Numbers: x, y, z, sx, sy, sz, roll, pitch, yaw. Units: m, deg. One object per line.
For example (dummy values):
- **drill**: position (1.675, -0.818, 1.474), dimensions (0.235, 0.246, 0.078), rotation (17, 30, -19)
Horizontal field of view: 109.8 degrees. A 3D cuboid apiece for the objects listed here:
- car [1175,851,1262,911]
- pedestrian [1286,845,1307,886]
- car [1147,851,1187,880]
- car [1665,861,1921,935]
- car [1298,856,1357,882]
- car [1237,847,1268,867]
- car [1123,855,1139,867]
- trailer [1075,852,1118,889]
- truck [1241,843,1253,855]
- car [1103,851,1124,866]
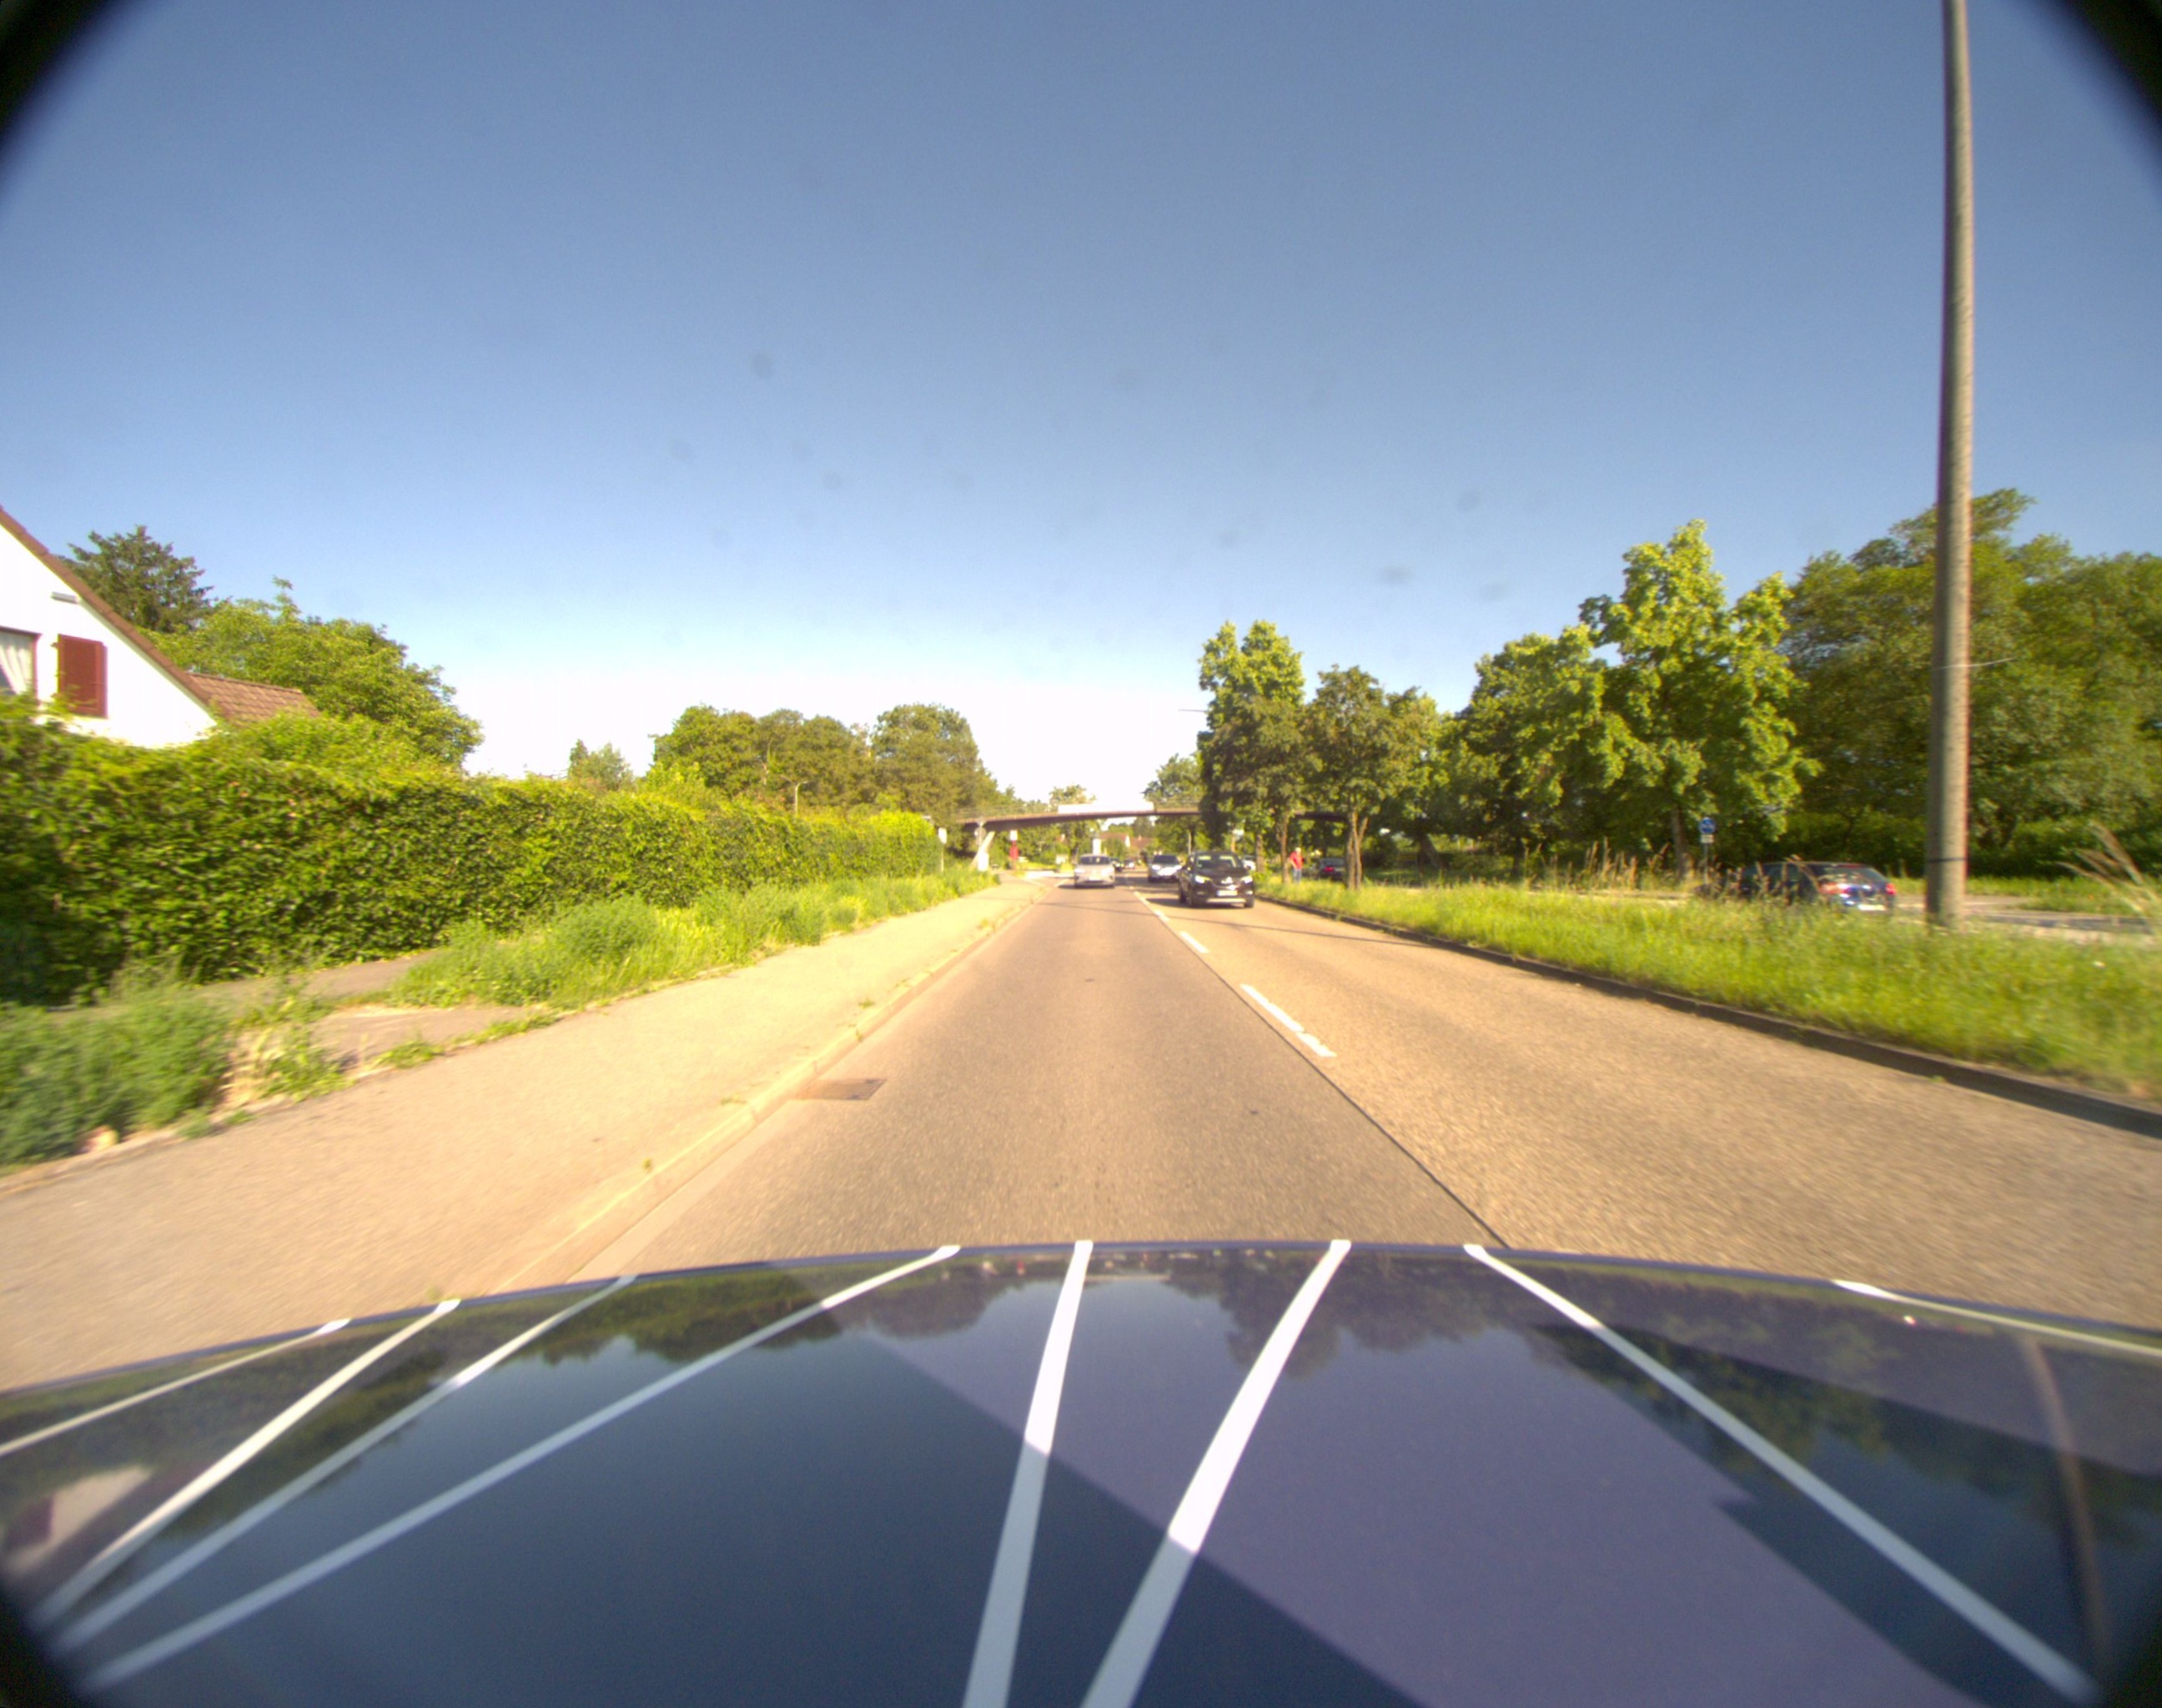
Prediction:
- **car**: position (3.947, 0.711, 22.555), dimensions (1.811, 1.605, 4.514), rotation (0, 0, 1)
- **pedestrian**: position (9.125, 0.478, 32.201), dimensions (0.631, 1.686, 0.945), rotation (0, 0, 31)
- **car**: position (4.767, 0.641, 42.765), dimensions (1.823, 1.553, 4.647), rotation (-1, -1, 2)
- **car**: position (16.615, 0.947, 18.139), dimensions (1.810, 1.491, 4.595), rotation (0, 0, 0)
- **car**: position (13.969, 0.821, 43.332), dimensions (1.786, 1.353, 4.979), rotation (0, 0, 0)
- **car**: position (14.850, 0.270, 65.875), dimensions (1.734, 1.622, 4.198), rotation (1, 0, 1)
- **car**: position (6.757, 0.970, 102.542), dimensions (1.822, 1.587, 4.275), rotation (-1, 0, 7)
- **trailer**: position (0.746, 0.718, 35.918), dimensions (1.897, 1.586, 4.000), rotation (-2, 1, 2)
- **truck**: position (36.912, -1.151, 169.006), dimensions (2.175, 2.498, 5.750), rotation (2, 0, 16)
- **car**: position (3.398, 0.430, 78.838), dimensions (1.822, 1.553, 4.275), rotation (0, 0, 8)
